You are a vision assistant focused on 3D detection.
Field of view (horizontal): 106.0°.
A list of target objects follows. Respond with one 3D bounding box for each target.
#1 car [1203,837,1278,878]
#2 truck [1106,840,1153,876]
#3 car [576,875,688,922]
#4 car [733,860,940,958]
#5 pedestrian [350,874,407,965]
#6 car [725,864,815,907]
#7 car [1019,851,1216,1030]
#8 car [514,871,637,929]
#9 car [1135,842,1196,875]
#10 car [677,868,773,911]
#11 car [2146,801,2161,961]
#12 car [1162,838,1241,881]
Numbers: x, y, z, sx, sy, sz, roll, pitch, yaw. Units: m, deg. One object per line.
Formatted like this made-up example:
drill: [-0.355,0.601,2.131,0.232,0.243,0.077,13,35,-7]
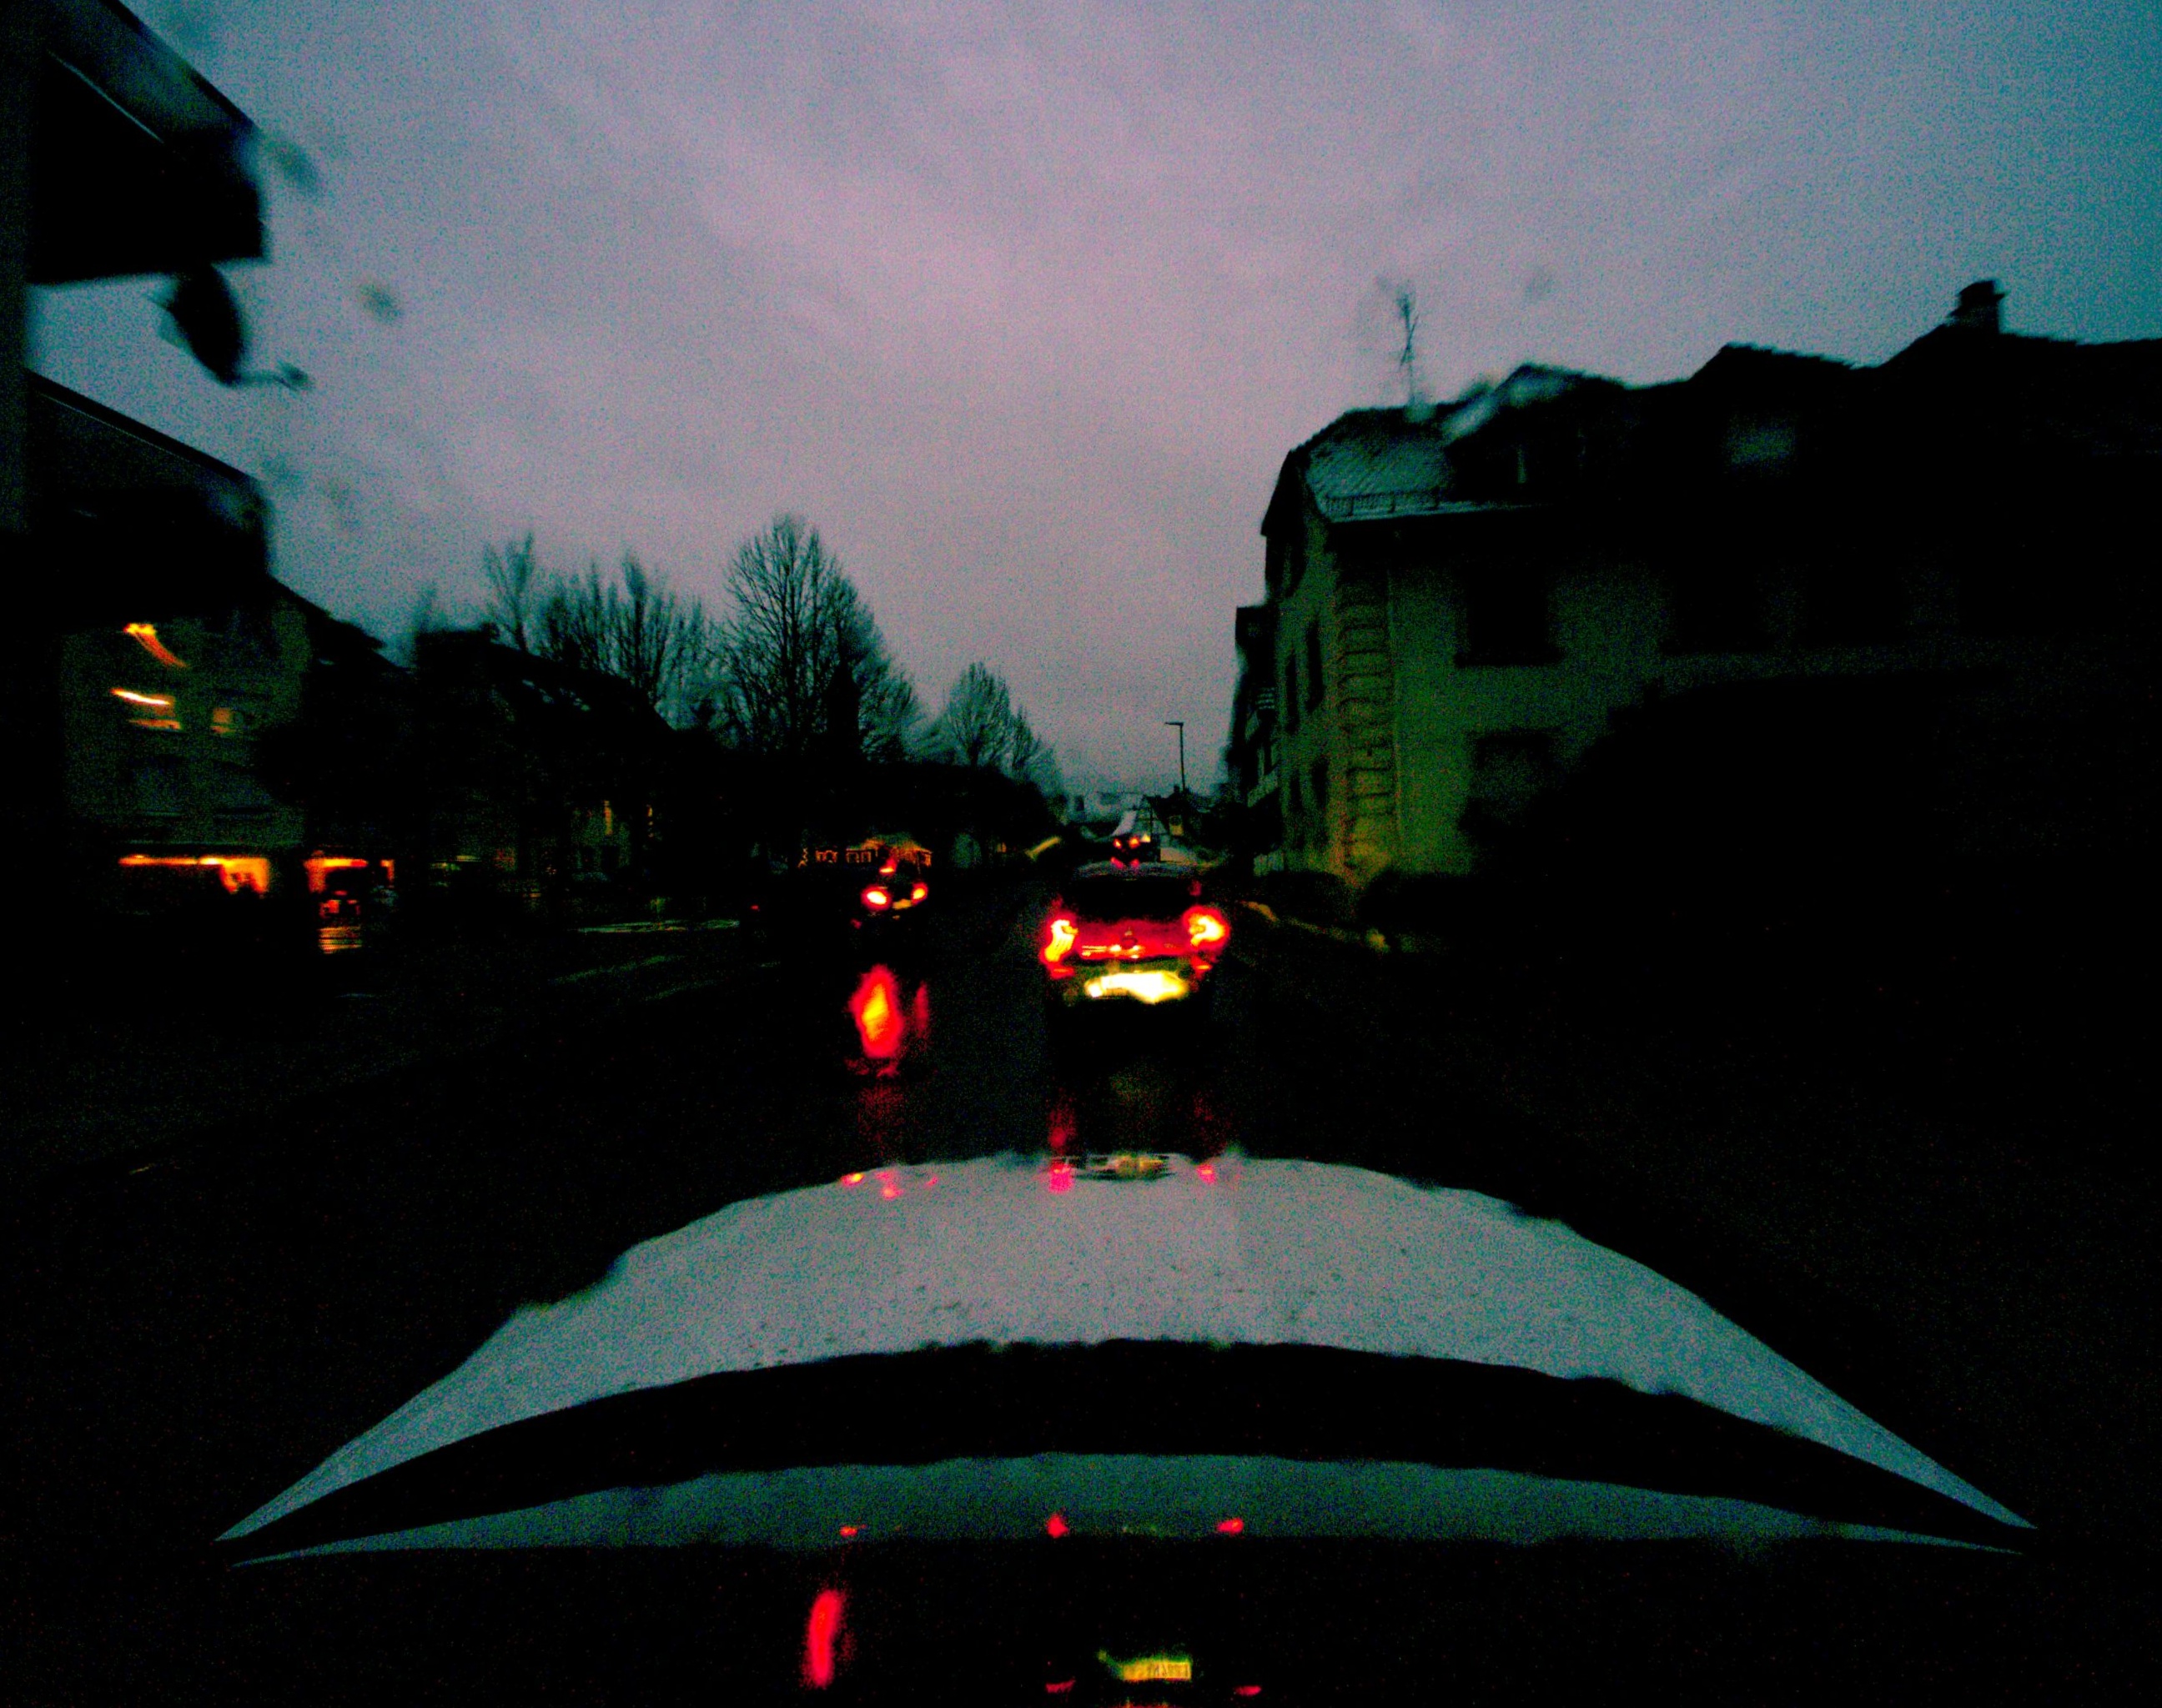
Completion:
car: [9.017,0.205,46.322,4.073,2.151,1.918,-2,0,9]
truck: [4.676,0.363,76.821,2.994,3.128,8.030,-1,0,14]
car: [-18.227,1.809,33.075,3.953,1.730,1.829,-2,0,21]
car: [-4.257,0.887,14.157,3.229,1.481,1.653,-1,0,30]
pedestrian: [-11.829,1.083,13.731,0.653,1.458,0.643,-1,0,-35]
car: [-15.701,1.597,41.155,3.953,1.998,1.829,-2,0,21]
car: [0.366,0.743,8.557,1.632,1.481,3.380,-1,-1,2]
car: [-18.783,1.698,30.292,3.953,1.988,1.829,-2,0,21]
car: [5.944,0.286,56.919,4.073,2.151,1.918,-2,0,9]
car: [-16.736,1.671,38.305,3.953,1.910,1.829,-2,0,21]
car: [12.253,0.149,6.806,3.971,1.524,1.938,-3,-1,2]
car: [6.529,0.288,44.035,4.073,2.163,1.918,-2,0,8]
